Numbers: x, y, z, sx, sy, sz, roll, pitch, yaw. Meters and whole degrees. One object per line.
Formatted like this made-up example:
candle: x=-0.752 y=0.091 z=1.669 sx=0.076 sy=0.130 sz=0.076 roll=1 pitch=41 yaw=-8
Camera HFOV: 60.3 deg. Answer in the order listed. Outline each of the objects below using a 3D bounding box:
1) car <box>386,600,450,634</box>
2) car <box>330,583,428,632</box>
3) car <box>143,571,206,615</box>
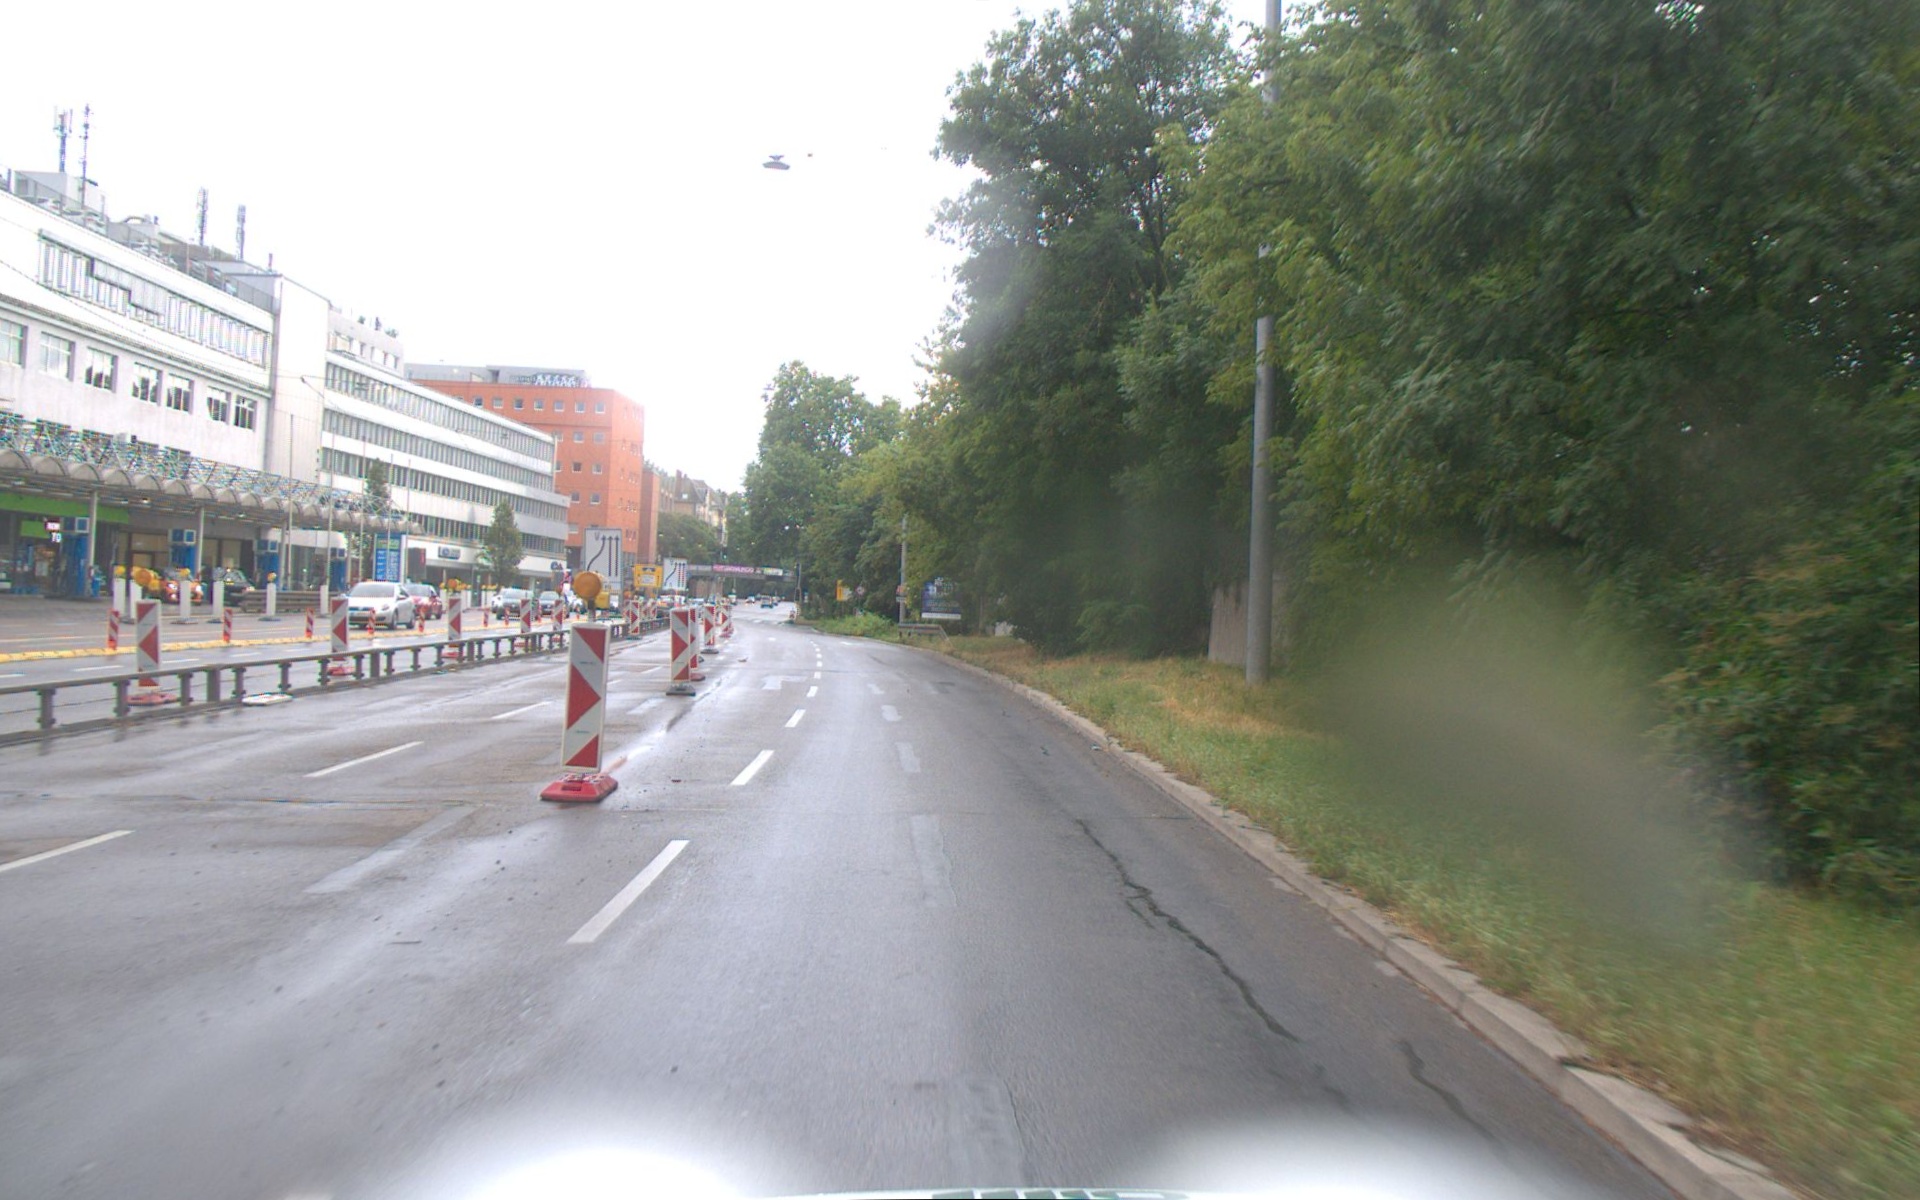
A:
car: x=-23.656 y=0.741 z=72.324 sx=1.744 sy=1.405 sz=3.996 roll=2 pitch=0 yaw=-5
car: x=-18.062 y=0.219 z=51.626 sx=1.744 sy=1.405 sz=4.452 roll=2 pitch=0 yaw=-4
car: x=-35.097 y=-0.329 z=73.834 sx=1.785 sy=1.683 sz=3.951 roll=5 pitch=-1 yaw=-35
